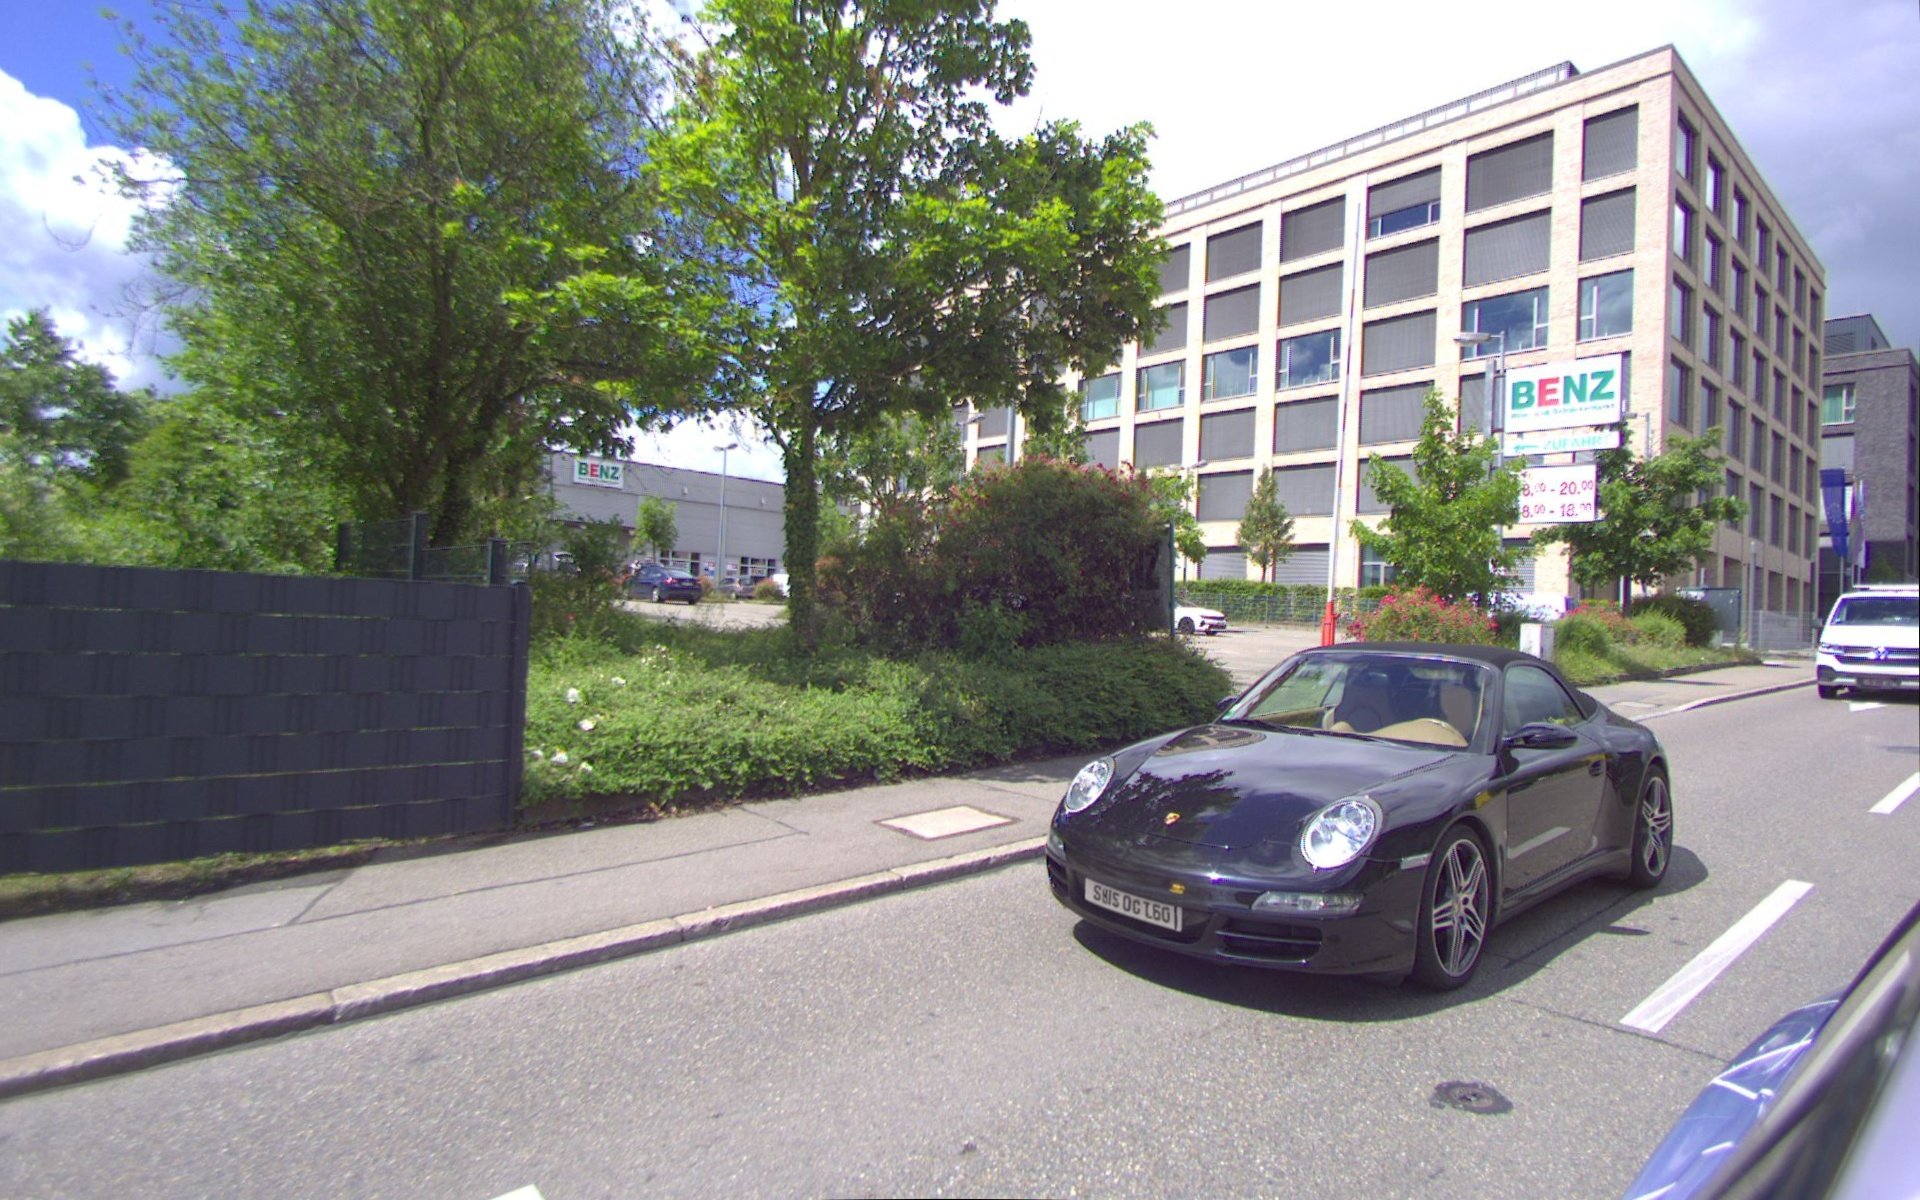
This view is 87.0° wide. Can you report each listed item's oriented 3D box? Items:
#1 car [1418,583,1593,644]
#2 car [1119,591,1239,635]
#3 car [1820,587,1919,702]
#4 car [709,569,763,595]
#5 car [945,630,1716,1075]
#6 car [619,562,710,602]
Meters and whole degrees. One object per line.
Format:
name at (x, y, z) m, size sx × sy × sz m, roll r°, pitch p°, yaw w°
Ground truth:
car at (16.012, 0.342, 29.861) m, size 1.707 × 1.596 × 4.211 m, roll 1°, pitch 1°, yaw -44°
car at (8.183, 0.456, 38.065) m, size 1.705 × 1.436 × 4.215 m, roll 1°, pitch 1°, yaw -41°
car at (17.251, 0.743, 18.263) m, size 4.563 × 1.874 × 1.962 m, roll 1°, pitch -1°, yaw -41°
car at (-14.453, -1.182, 65.243) m, size 1.707 × 1.538 × 3.995 m, roll 1°, pitch 1°, yaw -40°
car at (2.212, 0.842, 5.270) m, size 4.487 × 1.290 × 1.776 m, roll 1°, pitch -1°, yaw -40°
car at (-12.251, -0.757, 41.775) m, size 1.872 × 1.527 × 4.525 m, roll 1°, pitch 1°, yaw -41°
